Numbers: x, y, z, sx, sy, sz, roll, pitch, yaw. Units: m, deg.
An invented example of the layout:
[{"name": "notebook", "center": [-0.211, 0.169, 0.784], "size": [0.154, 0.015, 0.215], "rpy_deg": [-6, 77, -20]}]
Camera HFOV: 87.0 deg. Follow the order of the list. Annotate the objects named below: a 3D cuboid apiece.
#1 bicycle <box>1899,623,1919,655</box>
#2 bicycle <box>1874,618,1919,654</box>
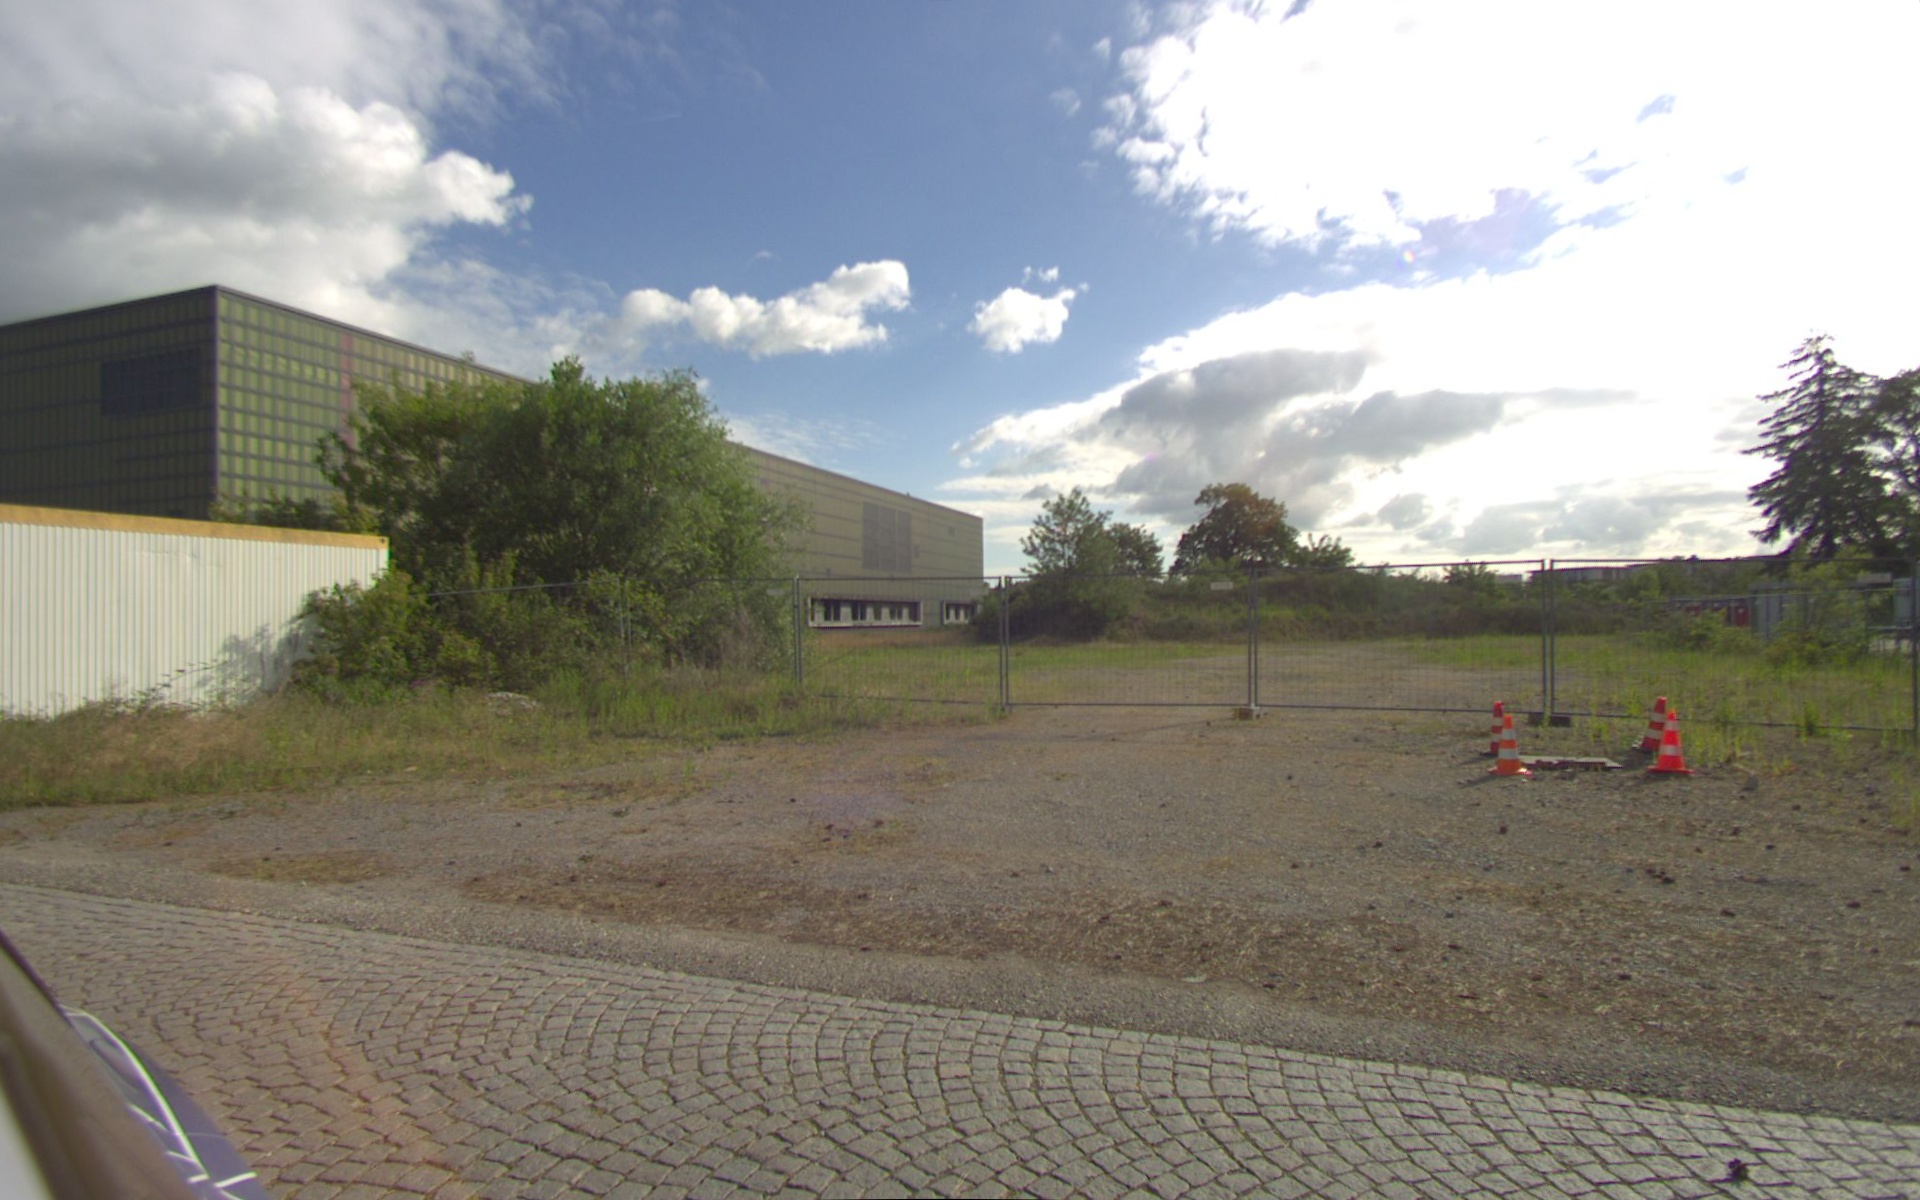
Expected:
[{"name": "bicycle", "center": [29.218, 1.126, 29.799], "size": [2.052, 0.928, 0.940], "rpy_deg": [-1, -2, 18]}, {"name": "bicycle", "center": [29.389, 1.083, 30.803], "size": [2.052, 1.052, 0.940], "rpy_deg": [-1, -2, 18]}]
